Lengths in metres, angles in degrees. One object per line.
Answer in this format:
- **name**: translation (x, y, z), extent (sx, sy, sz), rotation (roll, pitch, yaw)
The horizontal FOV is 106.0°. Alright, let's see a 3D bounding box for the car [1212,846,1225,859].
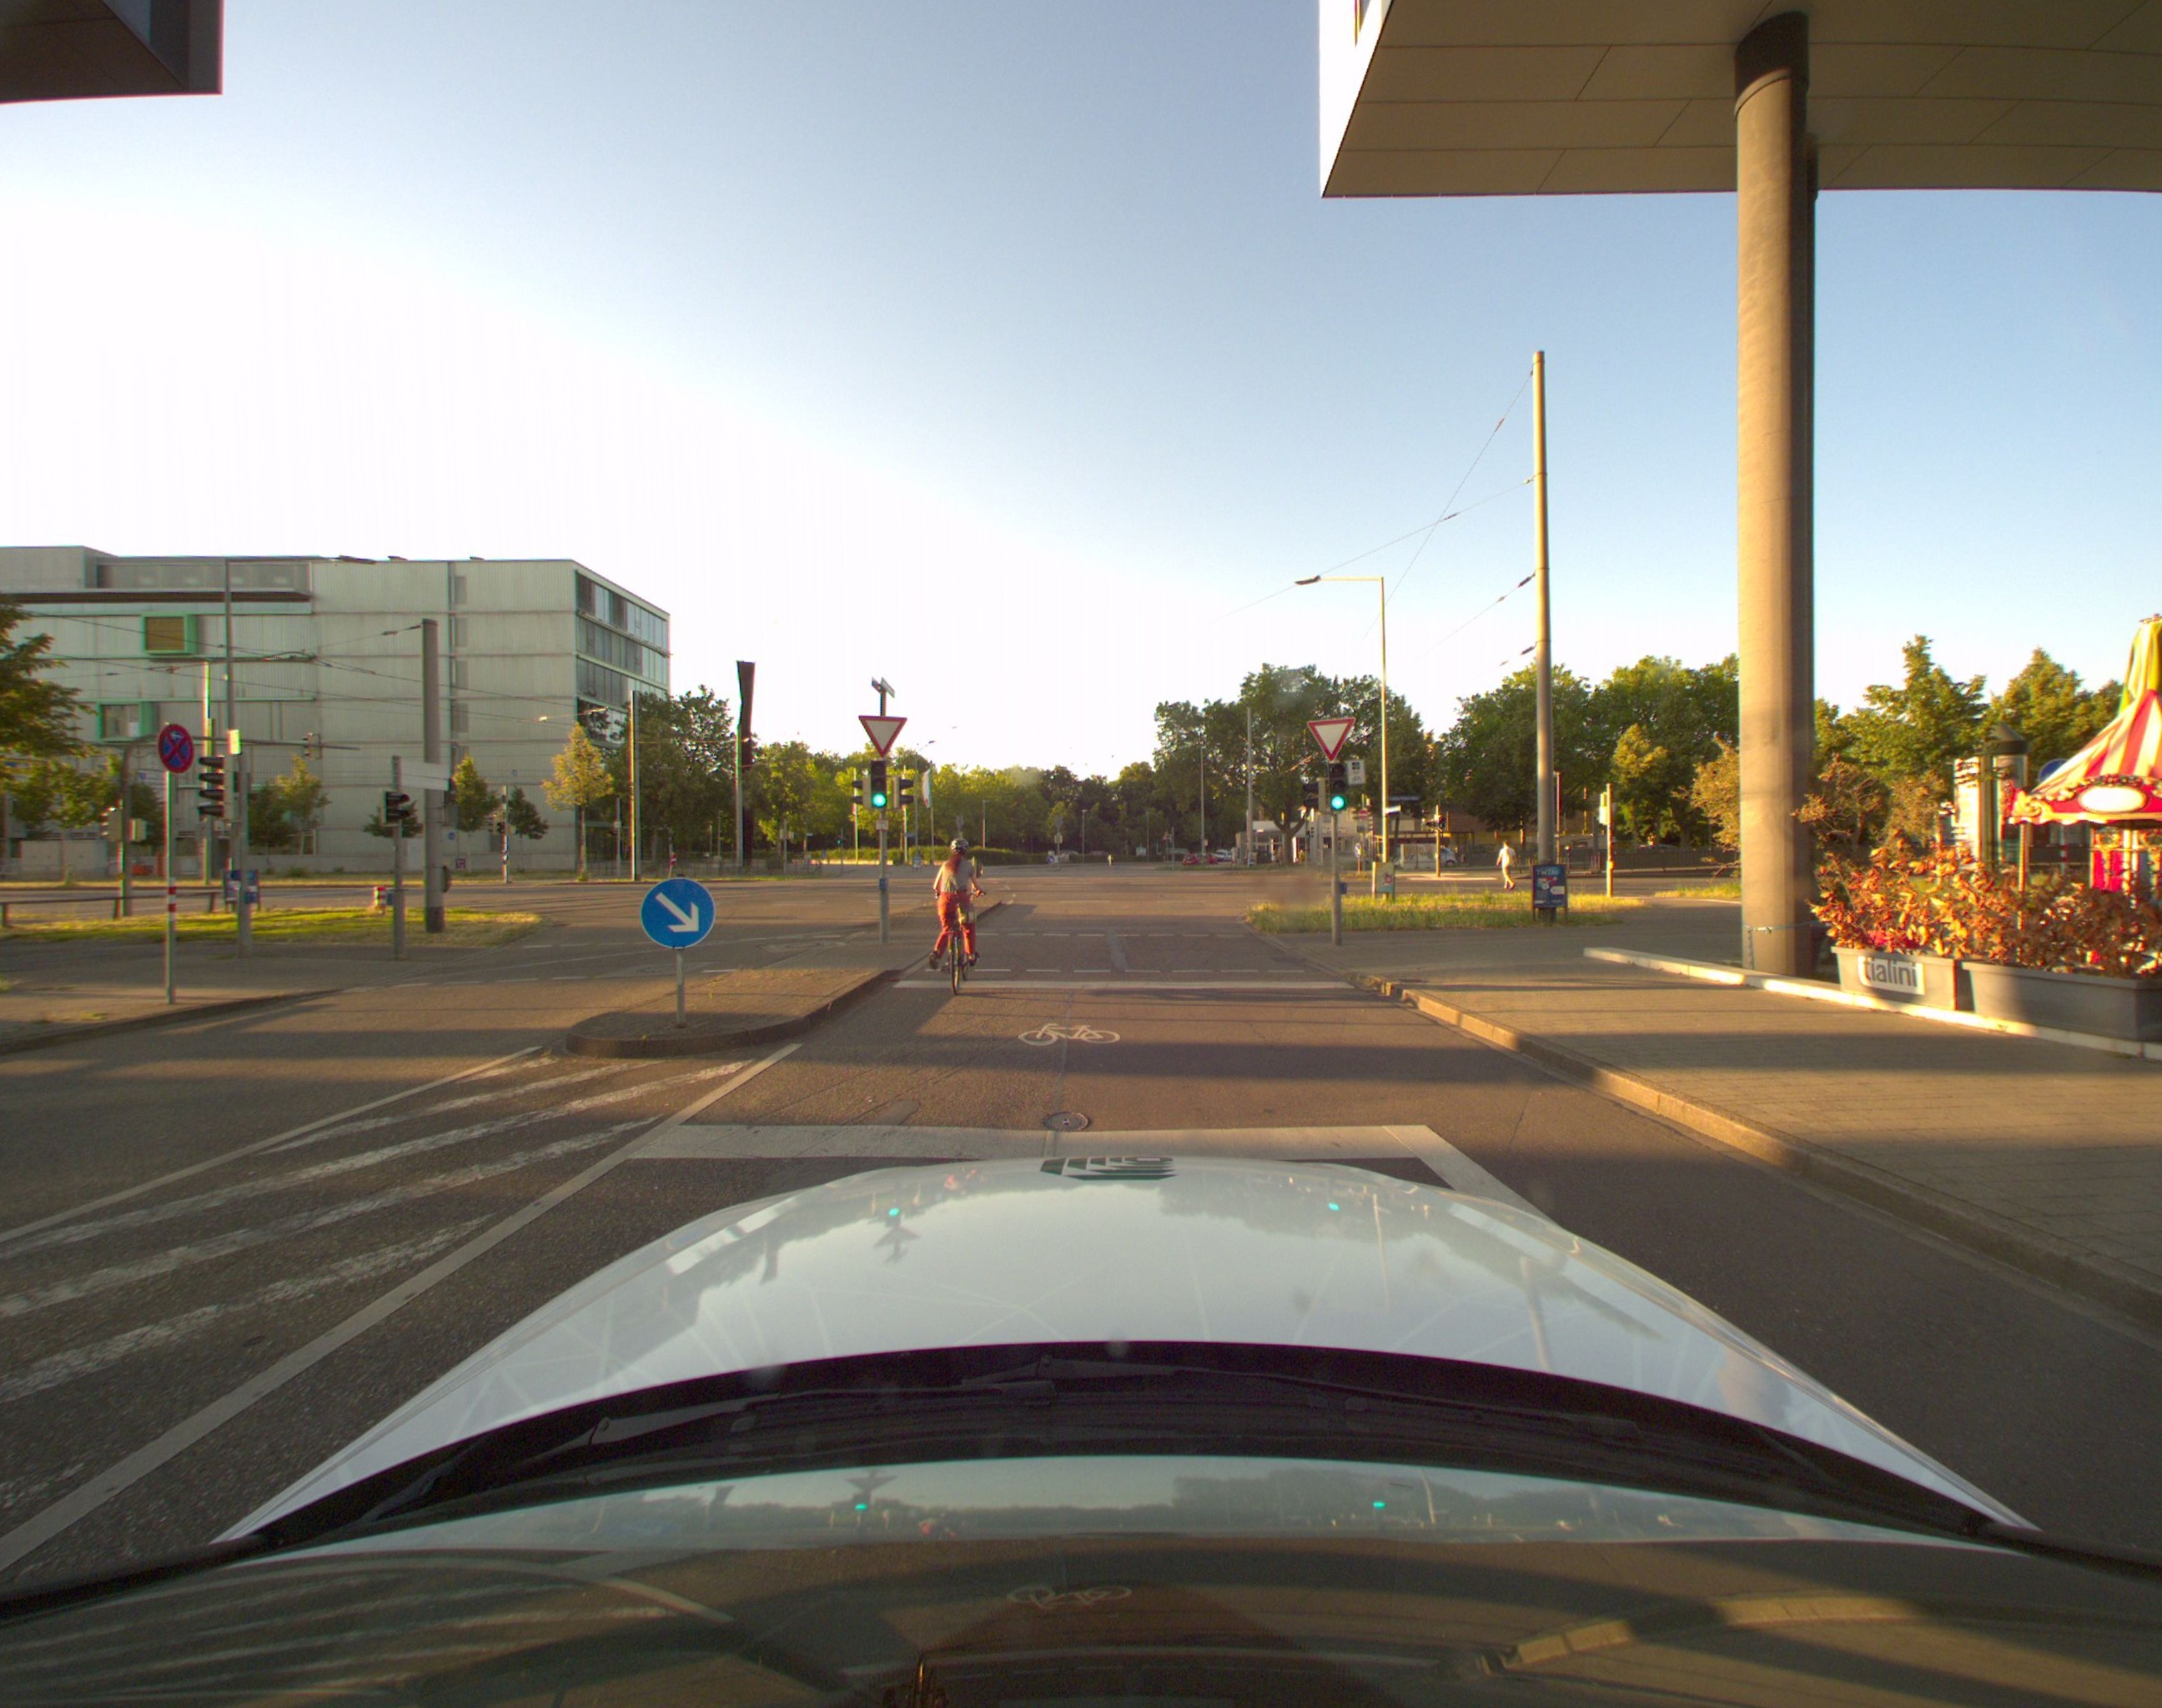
- **car**: translation (22.066, -0.208, 130.785), extent (1.982, 2.013, 4.010), rotation (-1, 0, 9)

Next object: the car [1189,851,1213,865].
- **car**: translation (14.664, 0.454, 99.252), extent (1.976, 1.574, 4.021), rotation (0, 0, 21)

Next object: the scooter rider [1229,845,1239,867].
- **scooter rider**: translation (13.050, 0.190, 69.611), extent (0.699, 1.855, 0.669), rotation (0, -1, 1)

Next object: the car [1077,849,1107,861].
- **car**: translation (1.476, 0.083, 109.607), extent (3.970, 1.561, 2.002), rotation (-1, 0, 3)

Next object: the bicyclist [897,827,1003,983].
- **bicyclist**: translation (-1.495, 0.559, 9.473), extent (1.028, 1.717, 0.996), rotation (-1, 0, 1)

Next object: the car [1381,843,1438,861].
- **car**: translation (28.803, -0.189, 71.463), extent (4.211, 1.577, 2.002), rotation (-1, 0, 4)

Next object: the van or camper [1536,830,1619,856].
- **van or camper**: translation (47.920, -1.073, 78.694), extent (6.530, 2.410, 2.268), rotation (-1, 0, 6)

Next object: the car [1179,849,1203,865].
- **car**: translation (12.912, 0.346, 95.495), extent (1.852, 1.874, 3.896), rotation (0, 0, 23)

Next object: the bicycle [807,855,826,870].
- **bicycle**: translation (-20.731, 0.669, 63.820), extent (0.697, 1.136, 2.392), rotation (-1, 0, -1)

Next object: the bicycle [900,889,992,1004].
- **bicycle**: translation (-1.500, 0.995, 9.420), extent (0.632, 1.068, 2.123), rotation (-1, 0, 2)

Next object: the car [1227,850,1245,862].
- **car**: translation (21.981, 0.273, 115.086), extent (1.899, 1.602, 4.020), rotation (0, 0, 20)

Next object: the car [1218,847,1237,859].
- **car**: translation (24.340, -0.185, 135.221), extent (1.975, 2.013, 4.024), rotation (-1, 0, 27)

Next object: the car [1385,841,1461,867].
- **car**: translation (23.647, 0.017, 56.410), extent (4.523, 1.728, 1.860), rotation (-1, 0, -3)

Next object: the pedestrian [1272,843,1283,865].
- **pedestrian**: translation (16.246, 0.005, 67.415), extent (0.712, 1.754, 0.903), rotation (-1, 0, 26)

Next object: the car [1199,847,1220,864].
- **car**: translation (16.244, 0.178, 103.036), extent (1.899, 2.047, 4.020), rotation (0, 0, 20)

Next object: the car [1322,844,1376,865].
- **car**: translation (23.648, 0.025, 71.996), extent (4.211, 1.846, 2.002), rotation (-1, 0, 4)

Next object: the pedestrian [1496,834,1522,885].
- **pedestrian**: translation (15.447, 0.185, 29.372), extent (0.754, 1.791, 0.807), rotation (0, 0, 34)

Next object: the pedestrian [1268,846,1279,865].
- **pedestrian**: translation (16.229, 0.124, 68.700), extent (0.712, 1.639, 0.903), rotation (-1, 0, 26)

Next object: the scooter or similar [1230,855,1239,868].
- **scooter or similar**: translation (13.101, 0.600, 69.566), extent (0.508, 1.090, 1.243), rotation (-1, 0, 2)

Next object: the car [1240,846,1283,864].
- **car**: translation (19.574, 0.082, 88.595), extent (4.354, 1.835, 1.952), rotation (-1, 0, 6)
